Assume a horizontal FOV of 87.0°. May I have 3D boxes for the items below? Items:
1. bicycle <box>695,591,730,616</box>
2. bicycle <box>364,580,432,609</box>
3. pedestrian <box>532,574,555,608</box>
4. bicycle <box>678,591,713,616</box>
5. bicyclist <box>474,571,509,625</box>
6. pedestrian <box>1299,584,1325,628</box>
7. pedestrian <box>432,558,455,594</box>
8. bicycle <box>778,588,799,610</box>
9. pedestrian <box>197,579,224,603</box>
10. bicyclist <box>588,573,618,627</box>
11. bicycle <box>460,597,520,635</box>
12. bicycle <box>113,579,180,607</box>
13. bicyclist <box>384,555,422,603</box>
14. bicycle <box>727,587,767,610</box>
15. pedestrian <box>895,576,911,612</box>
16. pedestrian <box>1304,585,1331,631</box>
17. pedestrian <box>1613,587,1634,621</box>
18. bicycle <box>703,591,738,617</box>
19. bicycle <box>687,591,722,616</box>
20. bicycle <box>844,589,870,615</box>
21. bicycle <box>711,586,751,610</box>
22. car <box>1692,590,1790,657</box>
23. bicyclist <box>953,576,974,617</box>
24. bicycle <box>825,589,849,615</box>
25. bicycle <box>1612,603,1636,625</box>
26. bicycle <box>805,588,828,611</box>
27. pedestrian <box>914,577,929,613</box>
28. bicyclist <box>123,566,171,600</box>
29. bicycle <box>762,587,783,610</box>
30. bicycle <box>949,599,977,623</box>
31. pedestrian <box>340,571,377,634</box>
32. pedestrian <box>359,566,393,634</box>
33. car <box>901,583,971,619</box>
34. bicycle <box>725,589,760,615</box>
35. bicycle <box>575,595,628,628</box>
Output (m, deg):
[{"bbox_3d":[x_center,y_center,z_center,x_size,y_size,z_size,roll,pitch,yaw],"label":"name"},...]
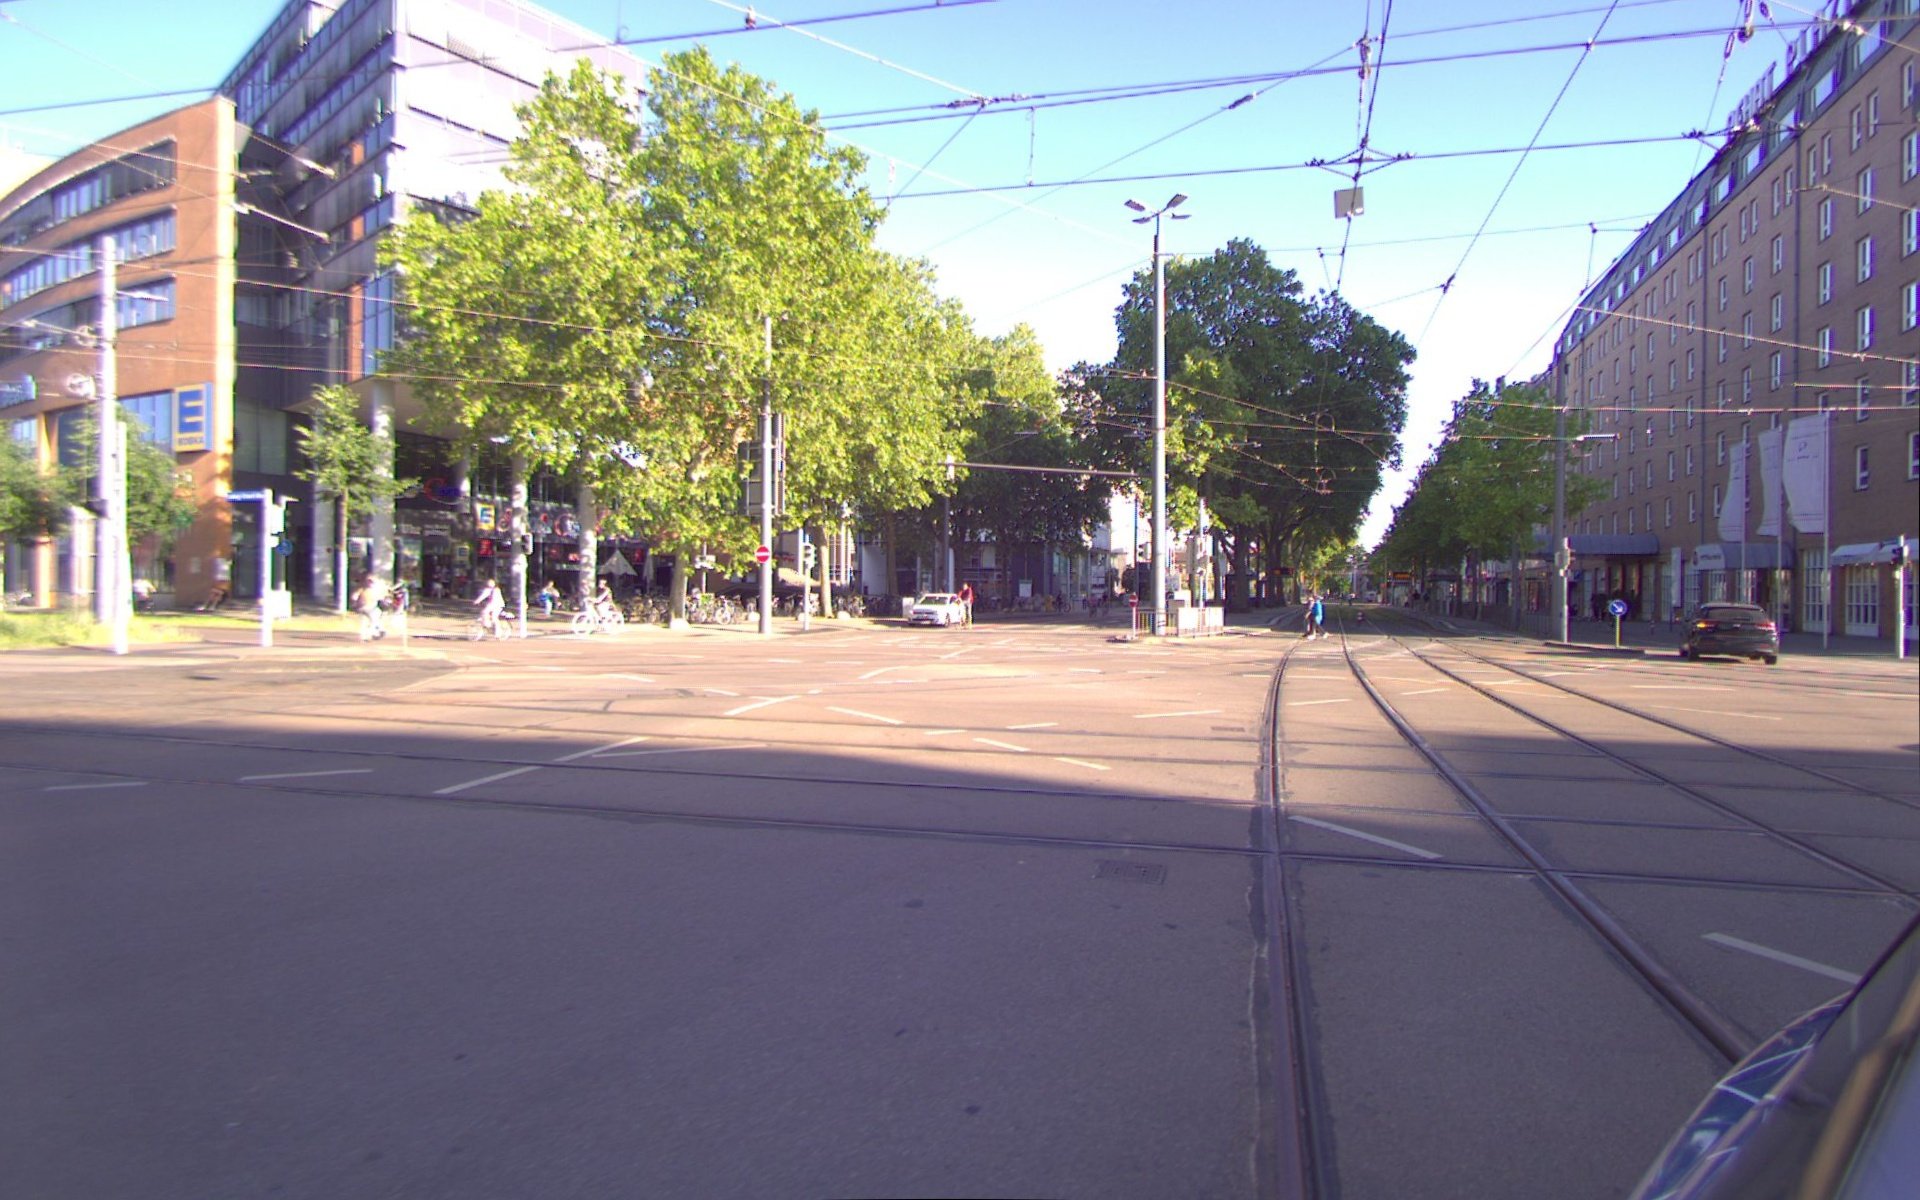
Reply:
[{"bbox_3d":[-10.100,0.147,41.310,0.387,0.998,1.695,1,1,26],"label":"bicycle"},{"bbox_3d":[-22.933,-0.219,41.373,0.820,1.127,3.046,1,1,6],"label":"bicycle"},{"bbox_3d":[-19.019,-0.415,46.232,0.560,1.546,0.768,1,0,36],"label":"pedestrian"},{"bbox_3d":[-10.892,0.139,41.750,0.387,0.998,1.695,1,1,26],"label":"bicycle"},{"bbox_3d":[-13.339,-0.066,28.823,0.564,1.521,0.739,1,1,24],"label":"bicyclist"},{"bbox_3d":[12.512,0.222,36.026,0.729,1.559,0.651,1,-1,5],"label":"pedestrian"},{"bbox_3d":[-27.615,-1.277,54.073,0.835,1.876,0.808,3,-3,-43],"label":"pedestrian"},{"bbox_3d":[-9.082,-0.064,53.548,0.859,1.105,2.939,1,1,-14],"label":"bicycle"},{"bbox_3d":[-33.538,-0.395,45.304,0.809,1.070,0.776,2,1,36],"label":"pedestrian"},{"bbox_3d":[-11.542,0.003,32.729,0.564,1.716,0.739,0,1,24],"label":"bicyclist"},{"bbox_3d":[-13.333,0.442,28.754,0.511,1.034,1.620,1,1,23],"label":"bicycle"},{"bbox_3d":[-34.721,-0.314,43.188,3.149,1.147,1.034,1,0,27],"label":"bicycle"},{"bbox_3d":[-22.868,-0.860,41.562,0.821,1.956,1.228,1,0,6],"label":"bicyclist"},{"bbox_3d":[-10.915,-0.096,51.726,0.861,1.105,2.933,1,1,-36],"label":"bicycle"},{"bbox_3d":[-2.881,-0.315,51.204,0.633,1.798,0.615,1,0,13],"label":"pedestrian"},{"bbox_3d":[12.433,0.269,35.187,0.729,1.559,0.676,1,-1,5],"label":"pedestrian"},{"bbox_3d":[32.451,0.199,49.516,0.765,1.614,0.830,0,-1,28],"label":"pedestrian"},{"bbox_3d":[-9.709,0.151,41.009,0.387,0.998,1.695,1,1,26],"label":"bicycle"},{"bbox_3d":[-10.485,0.142,41.530,0.387,0.998,1.695,1,1,26],"label":"bicycle"},{"bbox_3d":[-5.352,0.099,52.361,0.859,1.250,2.939,1,1,-14],"label":"bicycle"},{"bbox_3d":[-11.588,-0.110,51.079,0.861,1.105,2.933,1,1,-36],"label":"bicycle"},{"bbox_3d":[19.597,0.529,25.509,1.787,1.484,4.254,2,2,36],"label":"car"},{"bbox_3d":[0.157,-0.147,41.910,0.629,1.635,0.924,1,0,16],"label":"bicyclist"},{"bbox_3d":[-6.334,0.083,52.088,0.859,1.250,2.939,1,1,-14],"label":"bicycle"},{"bbox_3d":[32.402,0.690,49.432,0.785,1.065,1.904,0,-1,28],"label":"bicycle"},{"bbox_3d":[-7.601,-0.044,53.542,0.859,1.105,2.939,1,1,-14],"label":"bicycle"},{"bbox_3d":[-1.974,-0.253,51.985,0.633,1.798,0.615,1,0,13],"label":"pedestrian"},{"bbox_3d":[-34.542,-0.720,43.002,1.549,1.398,1.034,1,0,27],"label":"bicyclist"},{"bbox_3d":[-9.742,-0.073,52.542,0.859,1.105,2.939,1,1,-14],"label":"bicycle"},{"bbox_3d":[0.145,0.438,41.874,0.643,0.922,1.849,1,1,17],"label":"bicycle"},{"bbox_3d":[-15.730,0.067,26.459,0.482,1.602,0.656,1,0,16],"label":"pedestrian"},{"bbox_3d":[-16.077,0.003,27.885,0.690,1.860,0.514,2,-1,-42],"label":"pedestrian"},{"bbox_3d":[-1.002,0.080,44.882,1.973,1.505,3.978,1,-1,17],"label":"car"},{"bbox_3d":[-8.722,0.062,40.646,0.387,0.998,1.695,1,1,26],"label":"bicycle"},{"bbox_3d":[-11.569,0.357,32.696,0.511,1.034,1.844,1,1,24],"label":"bicycle"}]
